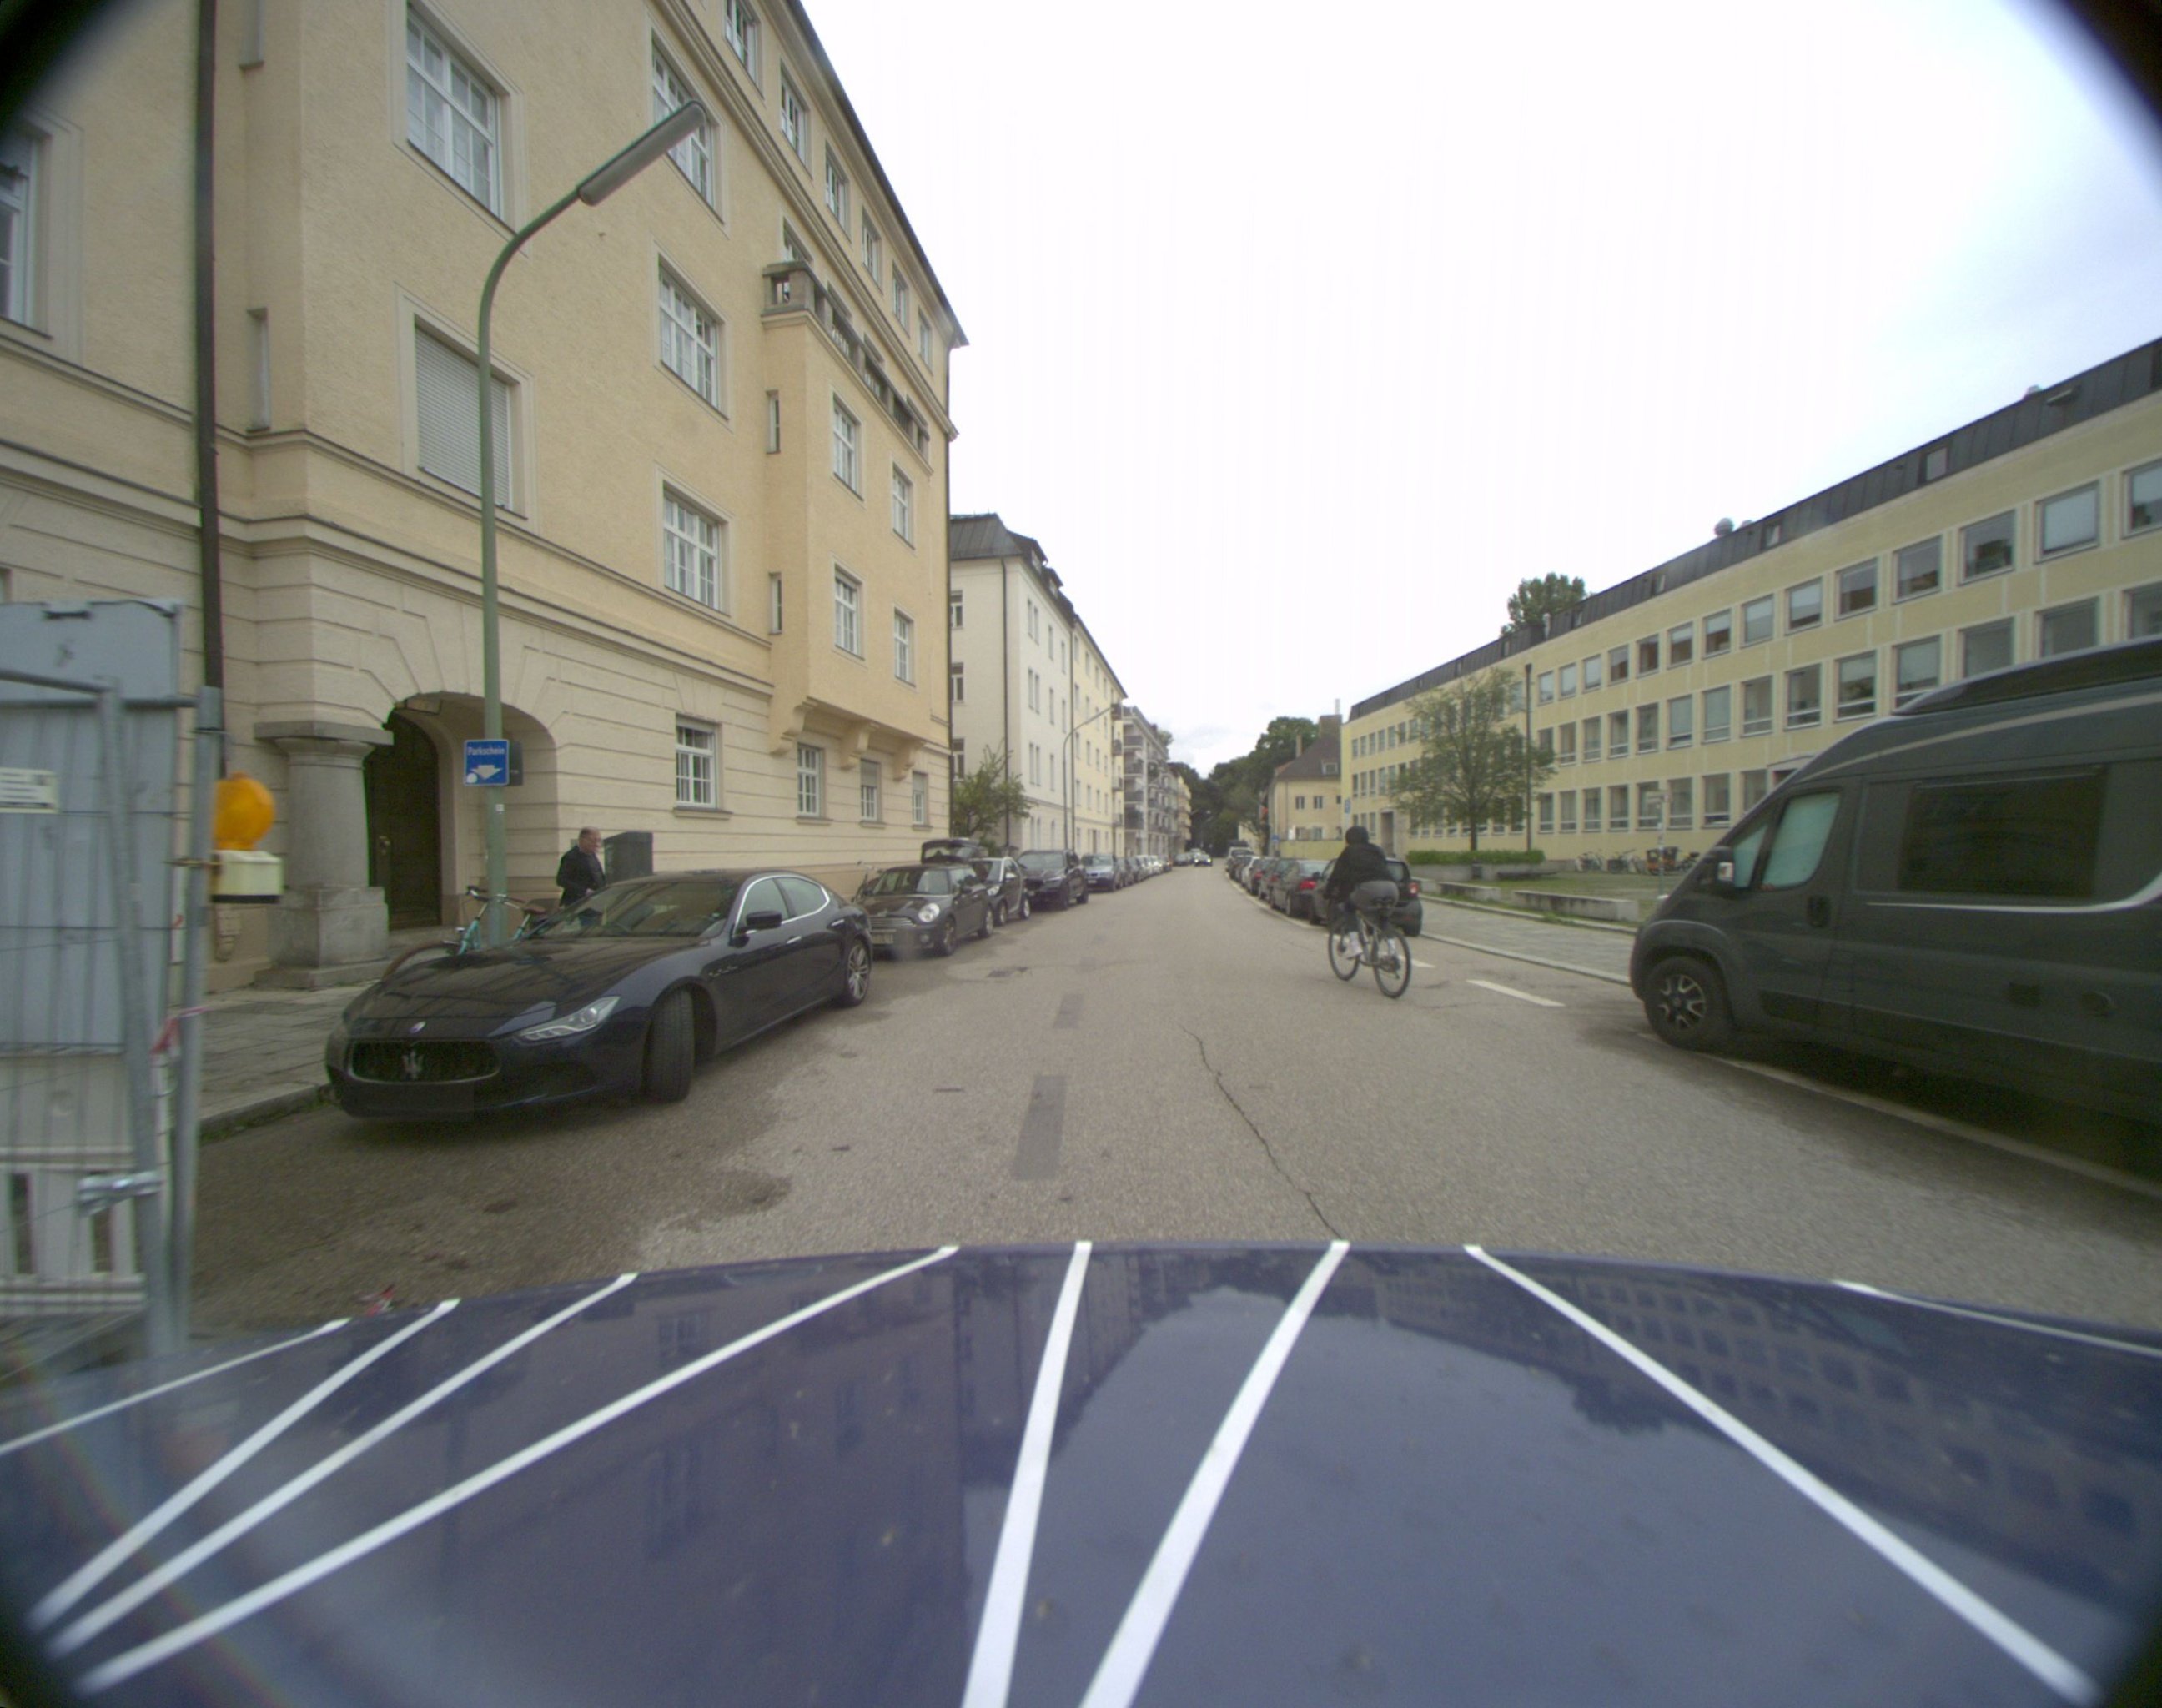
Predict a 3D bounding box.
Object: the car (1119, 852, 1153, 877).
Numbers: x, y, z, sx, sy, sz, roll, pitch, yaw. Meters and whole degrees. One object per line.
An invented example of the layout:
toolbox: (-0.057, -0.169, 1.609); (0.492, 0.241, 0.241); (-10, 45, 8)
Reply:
car: (3.491, 0.641, 47.778); (1.727, 1.441, 4.190); (-1, 0, 9)

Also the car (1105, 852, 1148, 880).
car: (2.637, 0.629, 42.867); (1.879, 1.441, 4.681); (-1, 0, 10)

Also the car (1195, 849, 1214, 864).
car: (13.568, 0.286, 83.322); (1.997, 1.521, 4.003); (-1, 0, 11)

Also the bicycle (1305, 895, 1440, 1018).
bicycle: (3.111, 1.049, 8.323); (0.587, 1.063, 1.936); (2, 0, -4)

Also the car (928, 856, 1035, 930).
car: (-2.208, 0.836, 17.549); (1.516, 1.545, 3.021); (-1, 0, 12)

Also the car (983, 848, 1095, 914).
car: (-1.100, 0.719, 22.885); (2.173, 1.729, 5.028); (-1, 0, 11)

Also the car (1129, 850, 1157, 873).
car: (4.366, 0.495, 52.970); (1.654, 1.534, 3.996); (-1, 0, 8)

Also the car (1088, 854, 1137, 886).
car: (1.604, 0.770, 37.507); (1.830, 1.441, 4.087); (-1, 0, 11)

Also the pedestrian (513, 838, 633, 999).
pedestrian: (-5.680, 0.680, 8.537); (0.618, 1.681, 0.920); (3, 2, 10)

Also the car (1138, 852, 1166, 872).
car: (5.409, 0.580, 57.535); (1.728, 1.421, 4.297); (-1, 0, 10)

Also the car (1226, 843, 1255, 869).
car: (12.606, 0.149, 60.307); (1.918, 1.948, 4.965); (1, 0, 9)

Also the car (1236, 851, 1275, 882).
car: (9.135, 0.624, 40.071); (1.634, 1.486, 4.103); (2, 1, 8)

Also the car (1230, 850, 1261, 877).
car: (9.706, 0.543, 44.993); (1.633, 1.486, 3.822); (1, 1, 11)

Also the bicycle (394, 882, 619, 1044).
bicycle: (-5.278, 0.932, 7.129); (0.637, 1.251, 1.672); (-1, 1, 9)

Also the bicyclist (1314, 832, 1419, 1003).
bicyclist: (3.103, 0.669, 8.322); (0.746, 1.761, 0.815); (2, 0, -3)

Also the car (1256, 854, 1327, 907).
car: (6.667, 0.784, 24.394); (1.634, 1.486, 3.605); (2, 1, 7)

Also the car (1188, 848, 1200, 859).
car: (16.765, -0.084, 112.551); (1.667, 1.459, 4.378); (0, 2, 9)

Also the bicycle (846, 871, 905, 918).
bicycle: (-5.166, 0.986, 19.245); (0.502, 1.043, 2.139); (3, 1, 12)

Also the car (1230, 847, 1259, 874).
car: (10.744, 0.402, 50.176); (1.717, 1.680, 4.144); (1, 1, 11)

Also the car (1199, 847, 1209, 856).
car: (23.324, -0.517, 143.798); (1.770, 1.607, 4.266); (-1, 0, 11)

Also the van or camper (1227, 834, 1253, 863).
van or camper: (15.274, -0.558, 72.974); (2.296, 2.636, 5.566); (2, 1, 12)

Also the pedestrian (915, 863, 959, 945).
pedestrian: (-2.739, 0.937, 14.461); (0.629, 1.520, 0.578); (-1, 1, 9)

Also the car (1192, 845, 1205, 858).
car: (19.638, -0.439, 127.196); (1.856, 2.019, 4.787); (-1, 0, 12)

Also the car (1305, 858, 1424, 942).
car: (5.630, 0.850, 15.389); (1.522, 1.457, 2.888); (2, 1, 6)

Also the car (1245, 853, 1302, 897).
car: (7.223, 0.726, 28.822); (1.634, 1.486, 4.278); (1, 1, 8)

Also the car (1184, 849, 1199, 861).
car: (14.669, 0.133, 101.072); (1.794, 1.473, 4.606); (-2, 0, 10)

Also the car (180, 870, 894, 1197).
car: (-3.359, 0.948, 6.245); (1.912, 1.469, 4.948); (-1, 0, 6)

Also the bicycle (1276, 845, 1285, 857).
bicycle: (21.223, -0.362, 80.918); (0.803, 1.226, 1.869); (0, 1, 11)

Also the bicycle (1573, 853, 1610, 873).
bicycle: (26.004, 0.458, 38.716); (1.609, 0.939, 0.503); (-2, 1, -8)

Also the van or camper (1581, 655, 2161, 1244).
van or camper: (5.843, 0.433, 3.814); (2.303, 2.566, 6.082); (1, 1, -3)

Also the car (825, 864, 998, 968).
car: (-2.646, 0.922, 12.748); (1.634, 1.409, 3.681); (-1, 0, 7)

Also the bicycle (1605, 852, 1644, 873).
bicycle: (26.047, 0.417, 36.446); (1.609, 0.939, 0.503); (-2, 1, -8)

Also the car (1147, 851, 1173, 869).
car: (6.601, 0.477, 63.244); (1.776, 1.421, 4.618); (-1, 0, 10)

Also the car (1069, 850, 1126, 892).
car: (0.798, 0.672, 32.838); (1.849, 1.654, 4.501); (-1, 0, 9)

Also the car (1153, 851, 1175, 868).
car: (7.462, 0.501, 68.152); (1.657, 1.421, 3.759); (-1, 0, 10)

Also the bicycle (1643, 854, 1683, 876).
bicycle: (26.104, 0.493, 34.065); (1.610, 0.939, 0.502); (-2, 1, -13)

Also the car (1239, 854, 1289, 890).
car: (8.226, 0.773, 34.410); (1.744, 1.414, 4.296); (2, 1, 8)

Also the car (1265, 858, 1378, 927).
car: (5.929, 0.869, 19.272); (1.777, 1.457, 4.468); (2, 1, 6)

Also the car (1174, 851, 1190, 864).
car: (12.036, 0.363, 90.497); (1.774, 1.467, 4.220); (-1, 0, 9)
